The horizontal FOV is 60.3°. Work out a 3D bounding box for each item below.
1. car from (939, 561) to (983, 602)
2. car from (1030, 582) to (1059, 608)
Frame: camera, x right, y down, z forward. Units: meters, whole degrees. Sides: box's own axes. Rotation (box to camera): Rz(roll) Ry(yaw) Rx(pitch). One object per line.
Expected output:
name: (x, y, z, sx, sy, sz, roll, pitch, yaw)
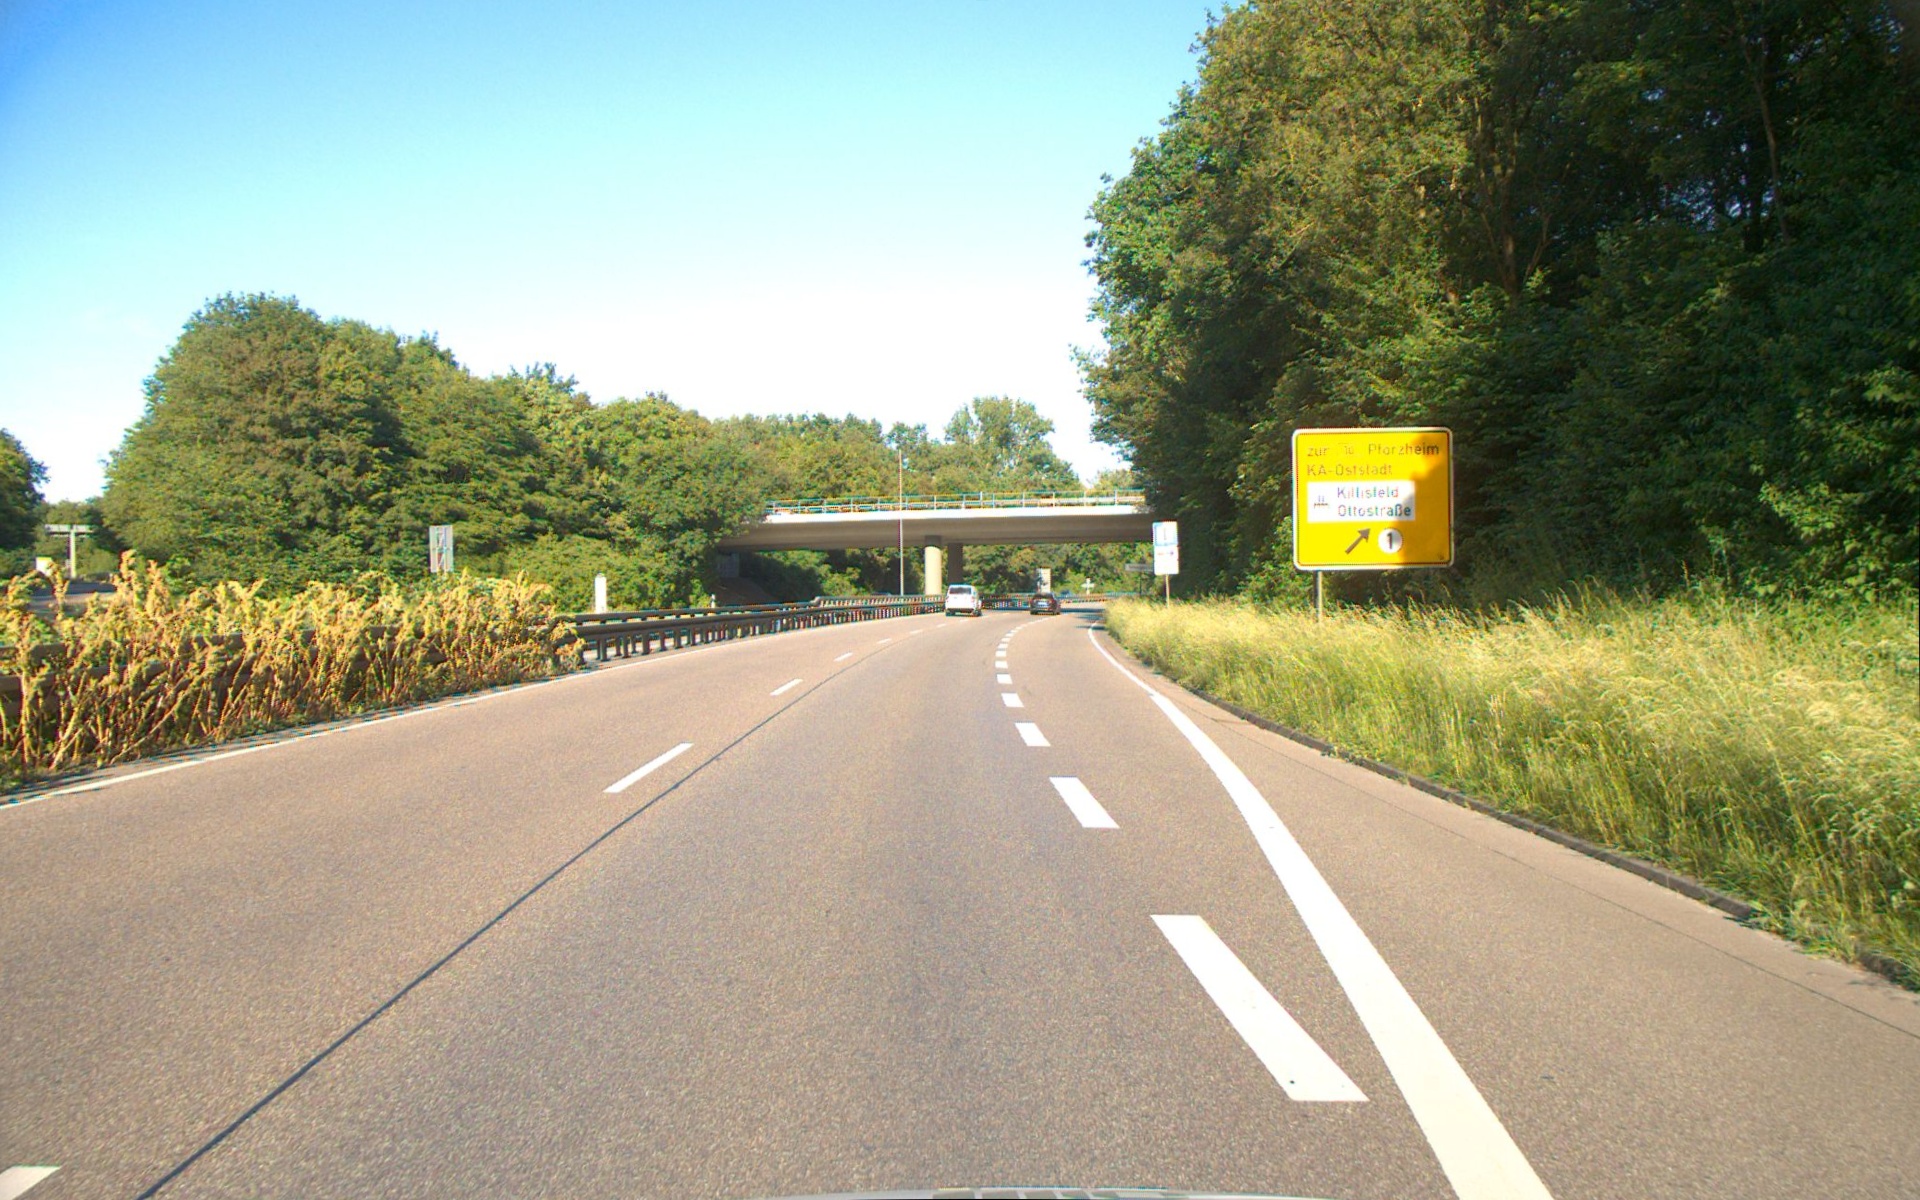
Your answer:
car: (0.097, -1.084, 96.495, 1.951, 2.317, 4.004, 0, 0, 9)
car: (5.654, -0.325, 110.299, 1.702, 1.691, 3.948, 0, 0, 6)
